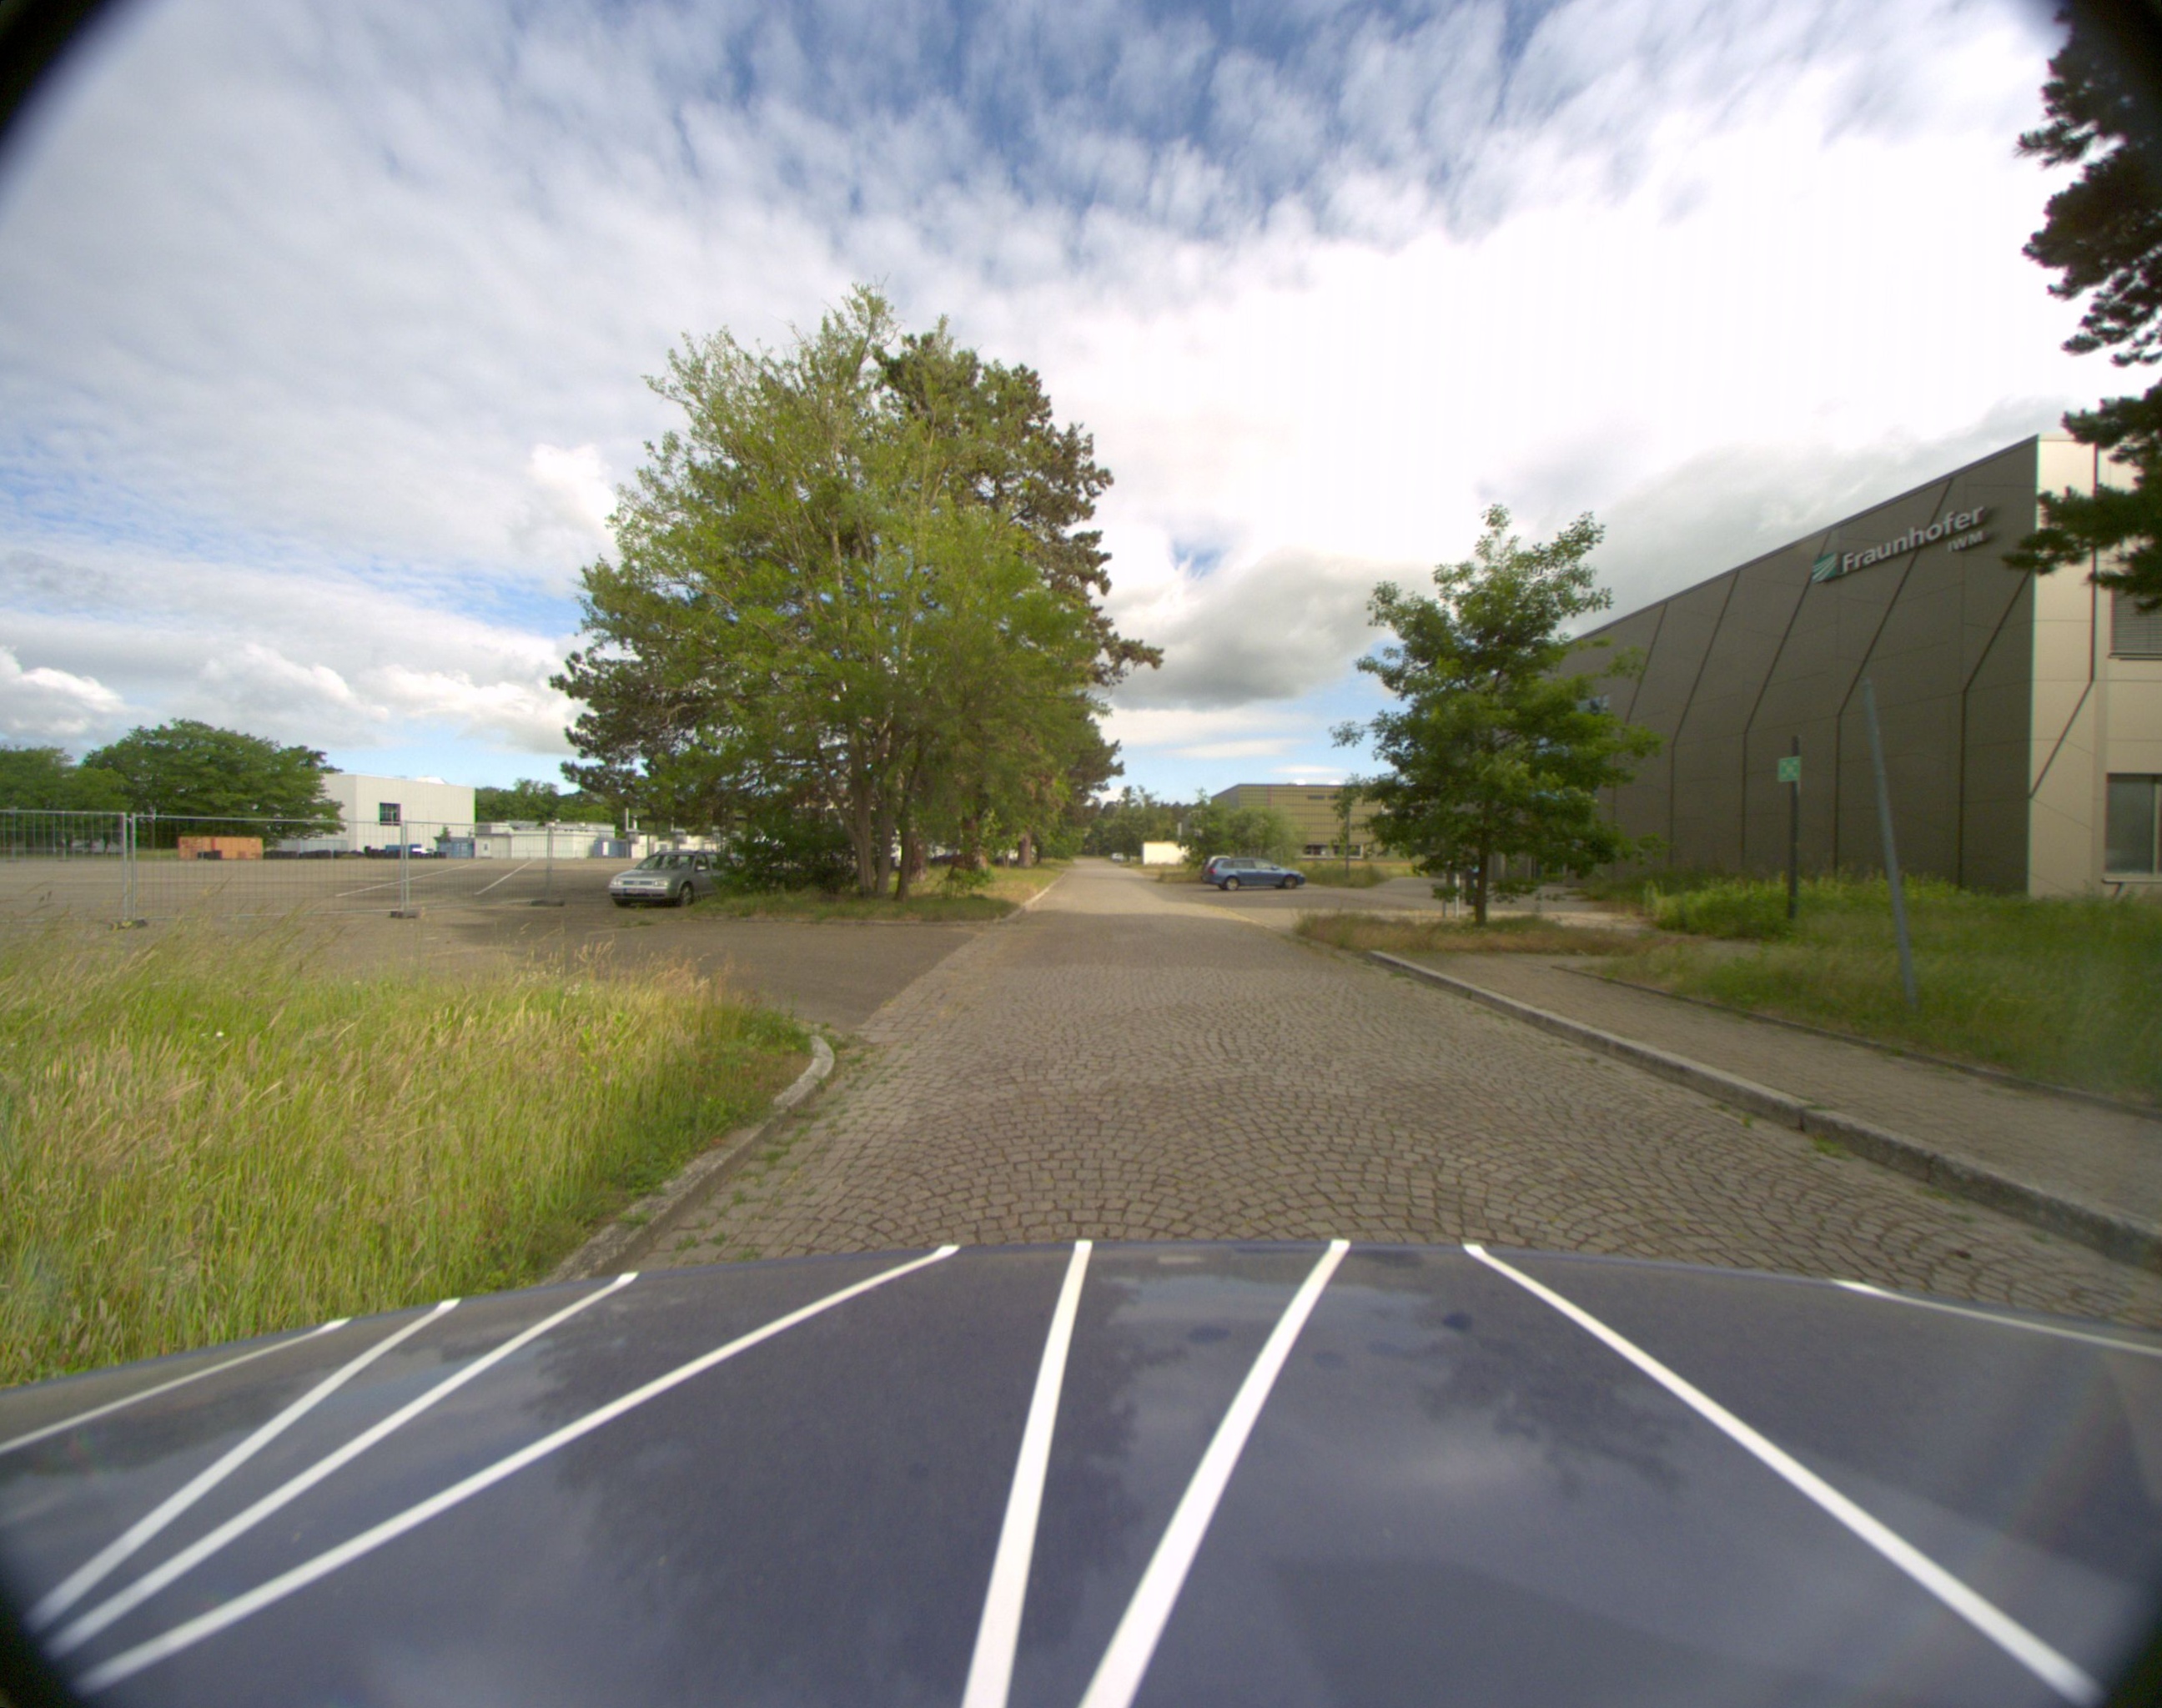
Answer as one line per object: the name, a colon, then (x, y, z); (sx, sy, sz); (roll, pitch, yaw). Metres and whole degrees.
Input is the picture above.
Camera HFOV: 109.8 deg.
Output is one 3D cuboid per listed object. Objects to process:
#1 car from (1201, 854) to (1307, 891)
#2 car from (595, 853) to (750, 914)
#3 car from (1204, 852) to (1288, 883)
car: (7.858, 0.831, 34.791); (4.404, 1.501, 1.716); (-2, 1, -2)
car: (-10.785, 0.701, 20.459); (1.759, 1.440, 4.327); (1, 0, 2)
car: (9.069, 0.738, 42.067); (4.400, 1.537, 1.842); (-2, 0, 7)
